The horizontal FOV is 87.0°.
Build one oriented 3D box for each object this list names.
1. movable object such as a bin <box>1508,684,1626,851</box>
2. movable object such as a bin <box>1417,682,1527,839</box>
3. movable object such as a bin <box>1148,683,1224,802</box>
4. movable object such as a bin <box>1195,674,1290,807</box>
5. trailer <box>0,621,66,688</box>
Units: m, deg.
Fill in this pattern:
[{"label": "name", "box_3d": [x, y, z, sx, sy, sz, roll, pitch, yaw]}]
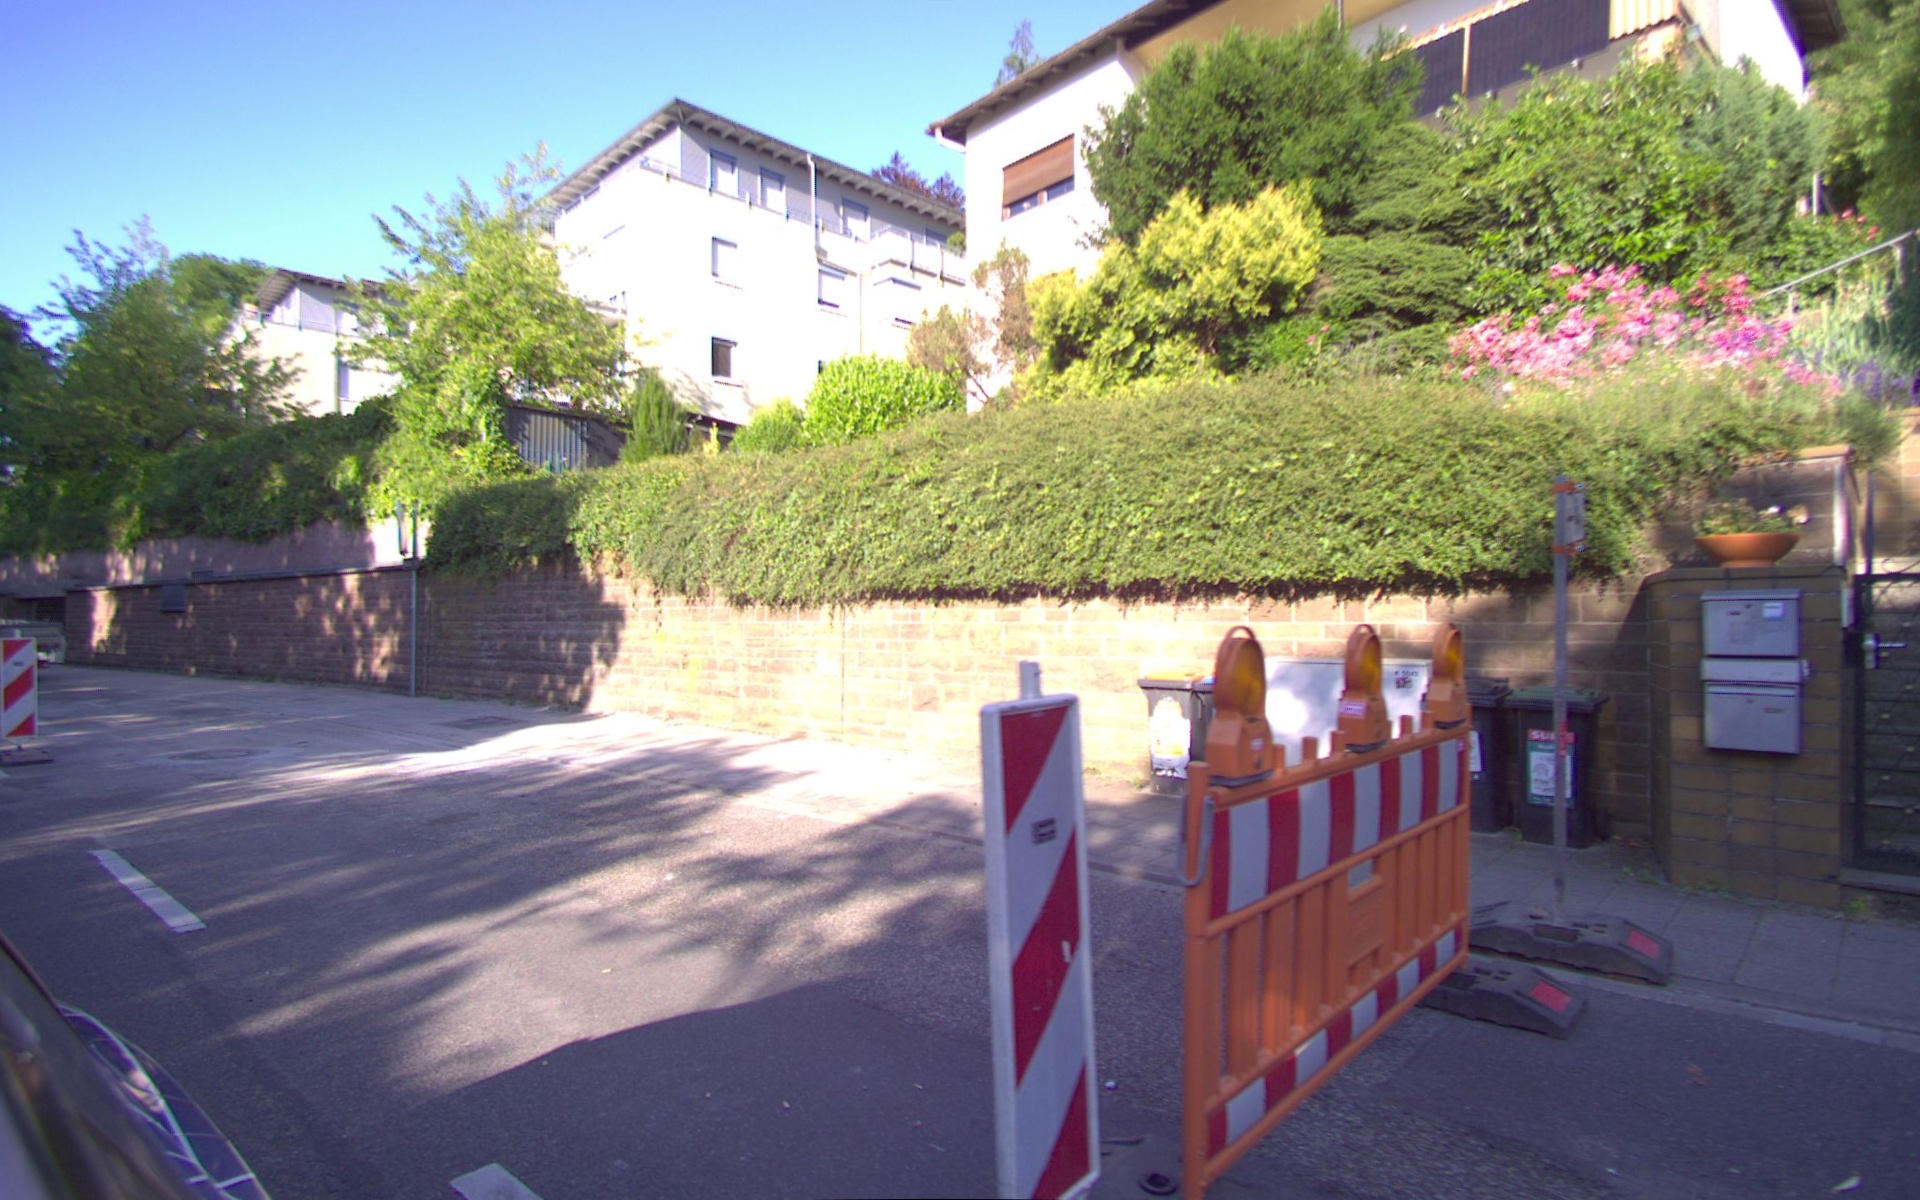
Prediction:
[{"label": "movable object such as a bin", "box_3d": [3.607, 0.966, 6.012, 0.500, 0.890, 0.451, -2, -1, 43]}, {"label": "movable object such as a bin", "box_3d": [3.226, 0.984, 6.375, 0.500, 0.890, 0.451, -2, -1, 43]}, {"label": "movable object such as a bin", "box_3d": [1.731, 1.071, 7.742, 0.392, 0.840, 0.449, -2, -2, 42]}, {"label": "movable object such as a bin", "box_3d": [2.071, 1.005, 7.418, 0.500, 0.890, 0.451, -2, -1, 43]}, {"label": "trailer", "box_3d": [-24.969, 1.313, 24.945, 7.097, 1.500, 2.619, -1, 0, 33]}]
